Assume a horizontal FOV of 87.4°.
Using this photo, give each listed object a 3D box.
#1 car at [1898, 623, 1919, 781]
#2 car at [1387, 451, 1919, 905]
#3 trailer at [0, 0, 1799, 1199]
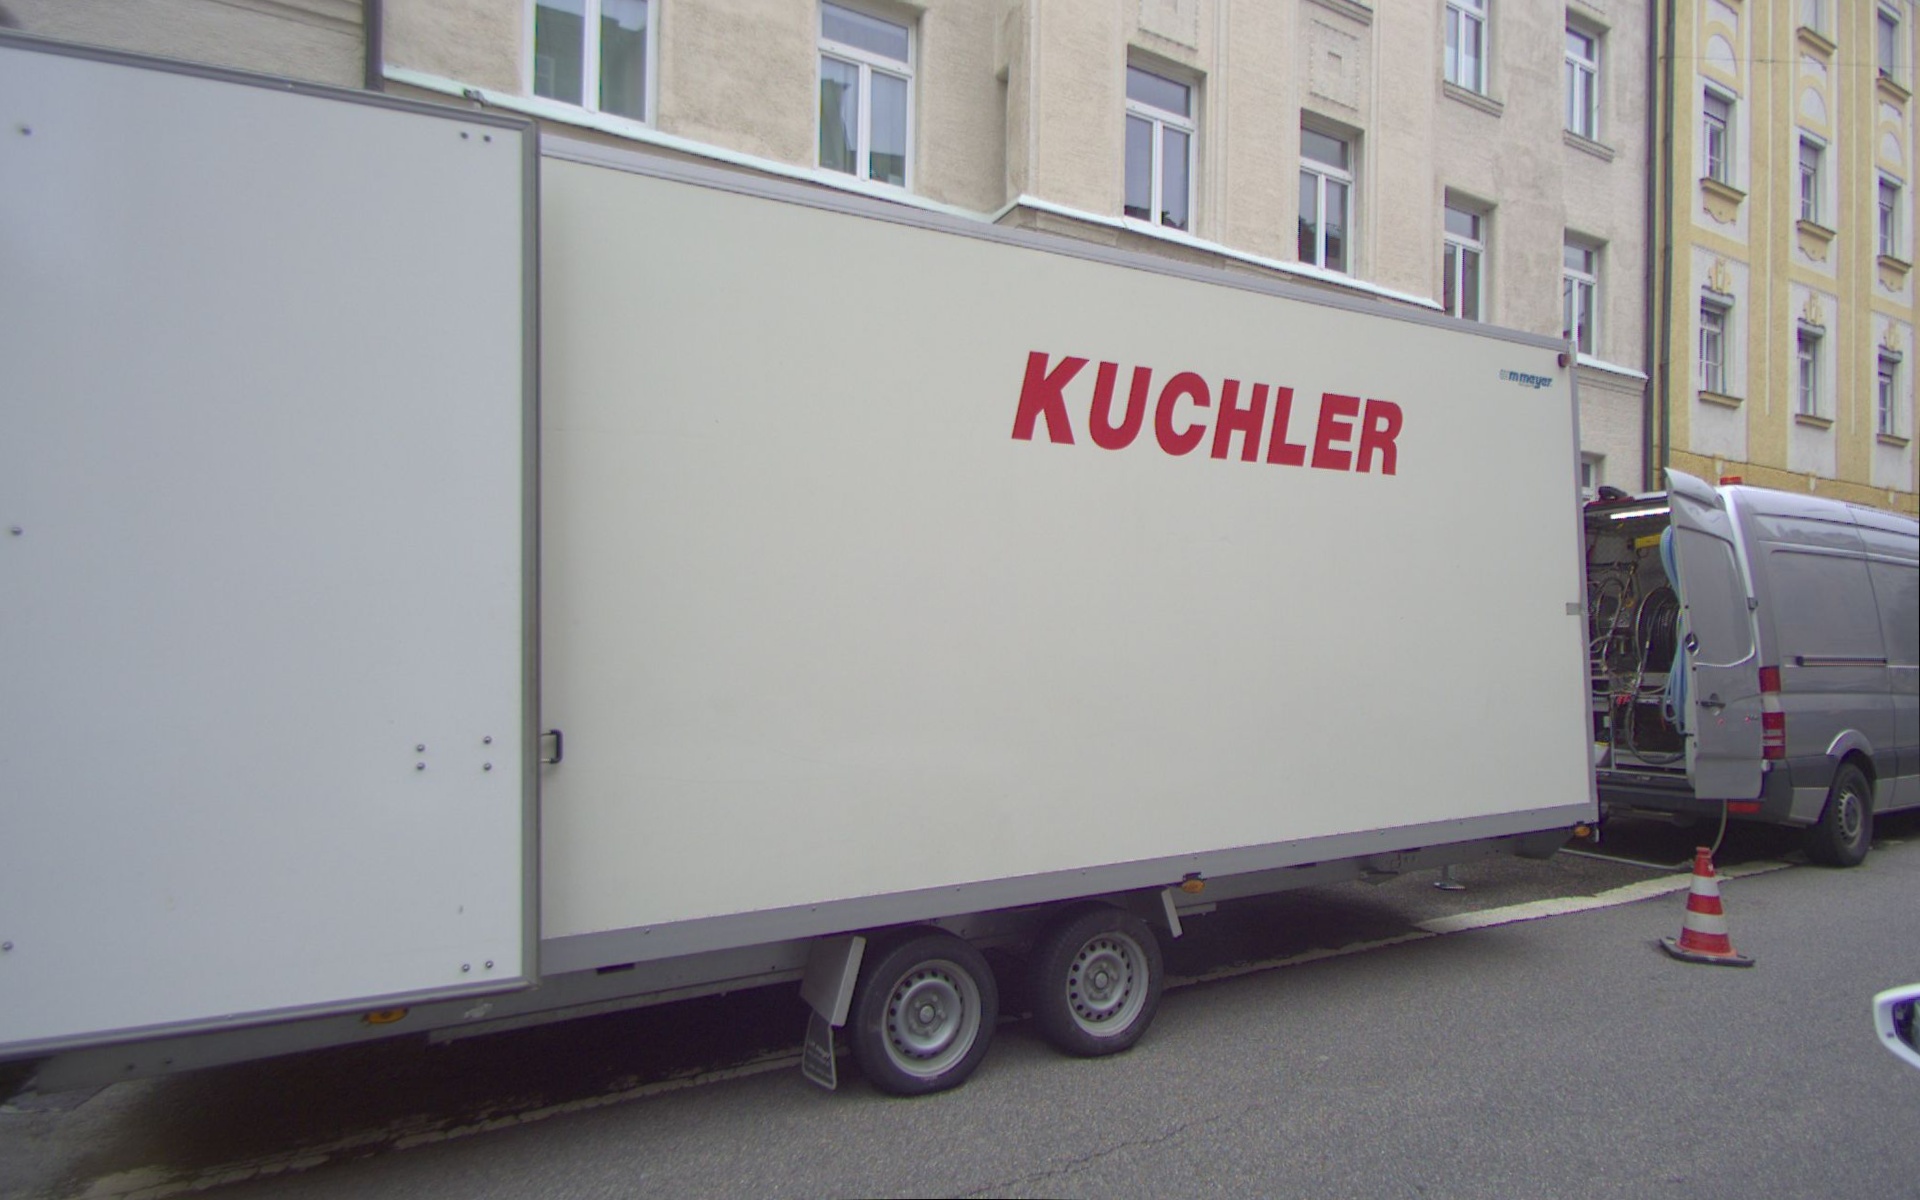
[{"bbox_3d":[13.188,1.188,11.845,4.271,1.802,1.757,2,-3,-27],"label":"car"},{"bbox_3d":[6.754,0.608,8.354,6.792,2.620,2.048,2,-6,-29],"label":"car"},{"bbox_3d":[0.273,0.173,4.782,7.499,3.007,2.796,1,-4,-26],"label":"trailer"}]
